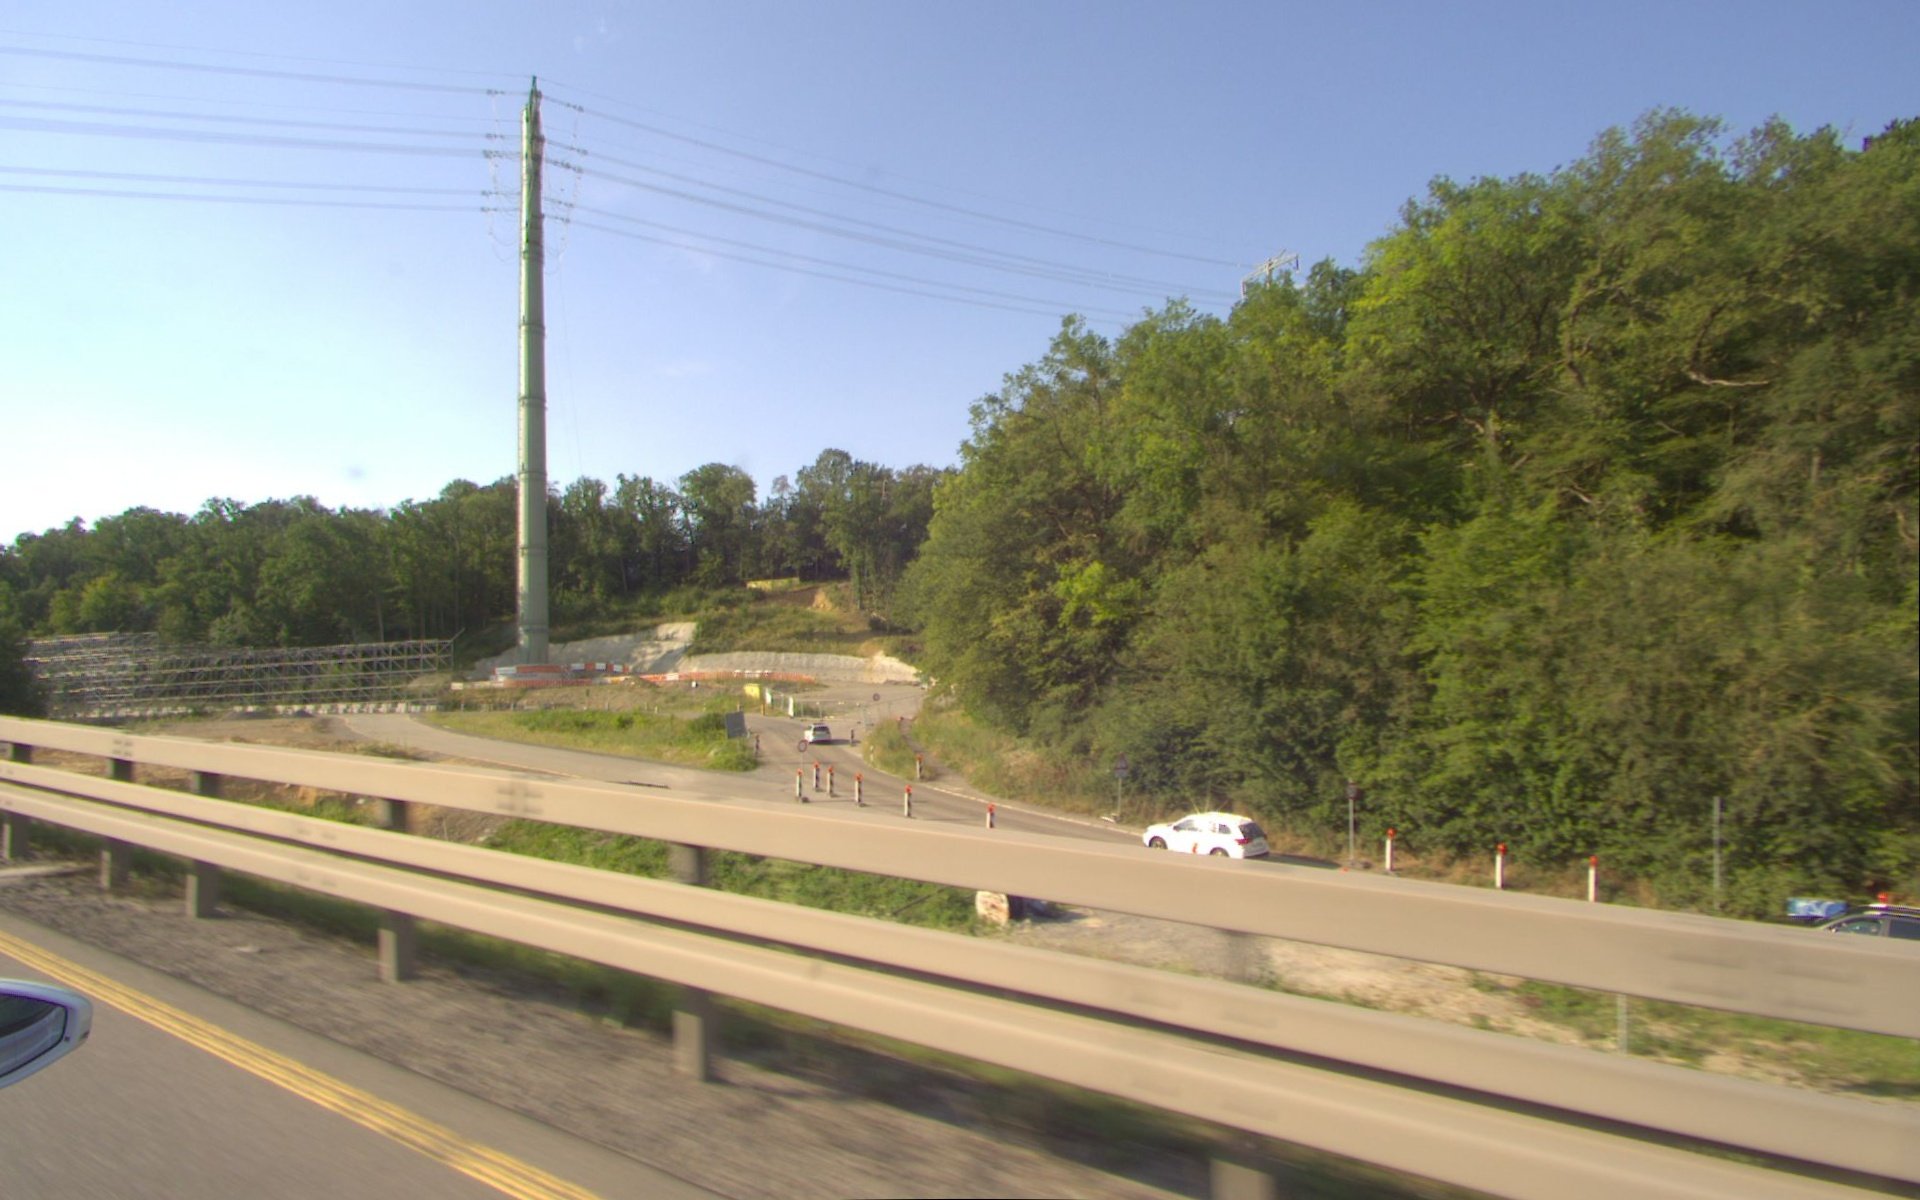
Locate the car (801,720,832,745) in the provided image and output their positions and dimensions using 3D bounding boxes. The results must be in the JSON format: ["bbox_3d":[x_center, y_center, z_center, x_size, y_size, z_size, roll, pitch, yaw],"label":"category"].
[{"bbox_3d":[-11.027,10.110,76.586,1.504,1.479,4.259,-1,-2,-20],"label":"car"}]

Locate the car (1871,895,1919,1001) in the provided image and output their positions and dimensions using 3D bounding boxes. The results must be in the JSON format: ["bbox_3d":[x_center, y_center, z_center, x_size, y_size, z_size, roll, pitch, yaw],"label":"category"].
[{"bbox_3d":[22.253,7.693,21.015,1.849,1.807,4.459,1,-2,-41],"label":"car"}]

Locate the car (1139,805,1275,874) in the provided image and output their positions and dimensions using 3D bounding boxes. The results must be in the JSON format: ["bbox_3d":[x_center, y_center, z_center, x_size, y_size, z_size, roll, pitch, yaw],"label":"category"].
[{"bbox_3d":[8.616,8.362,35.243,4.426,1.681,1.659,-4,-6,44],"label":"car"}]
